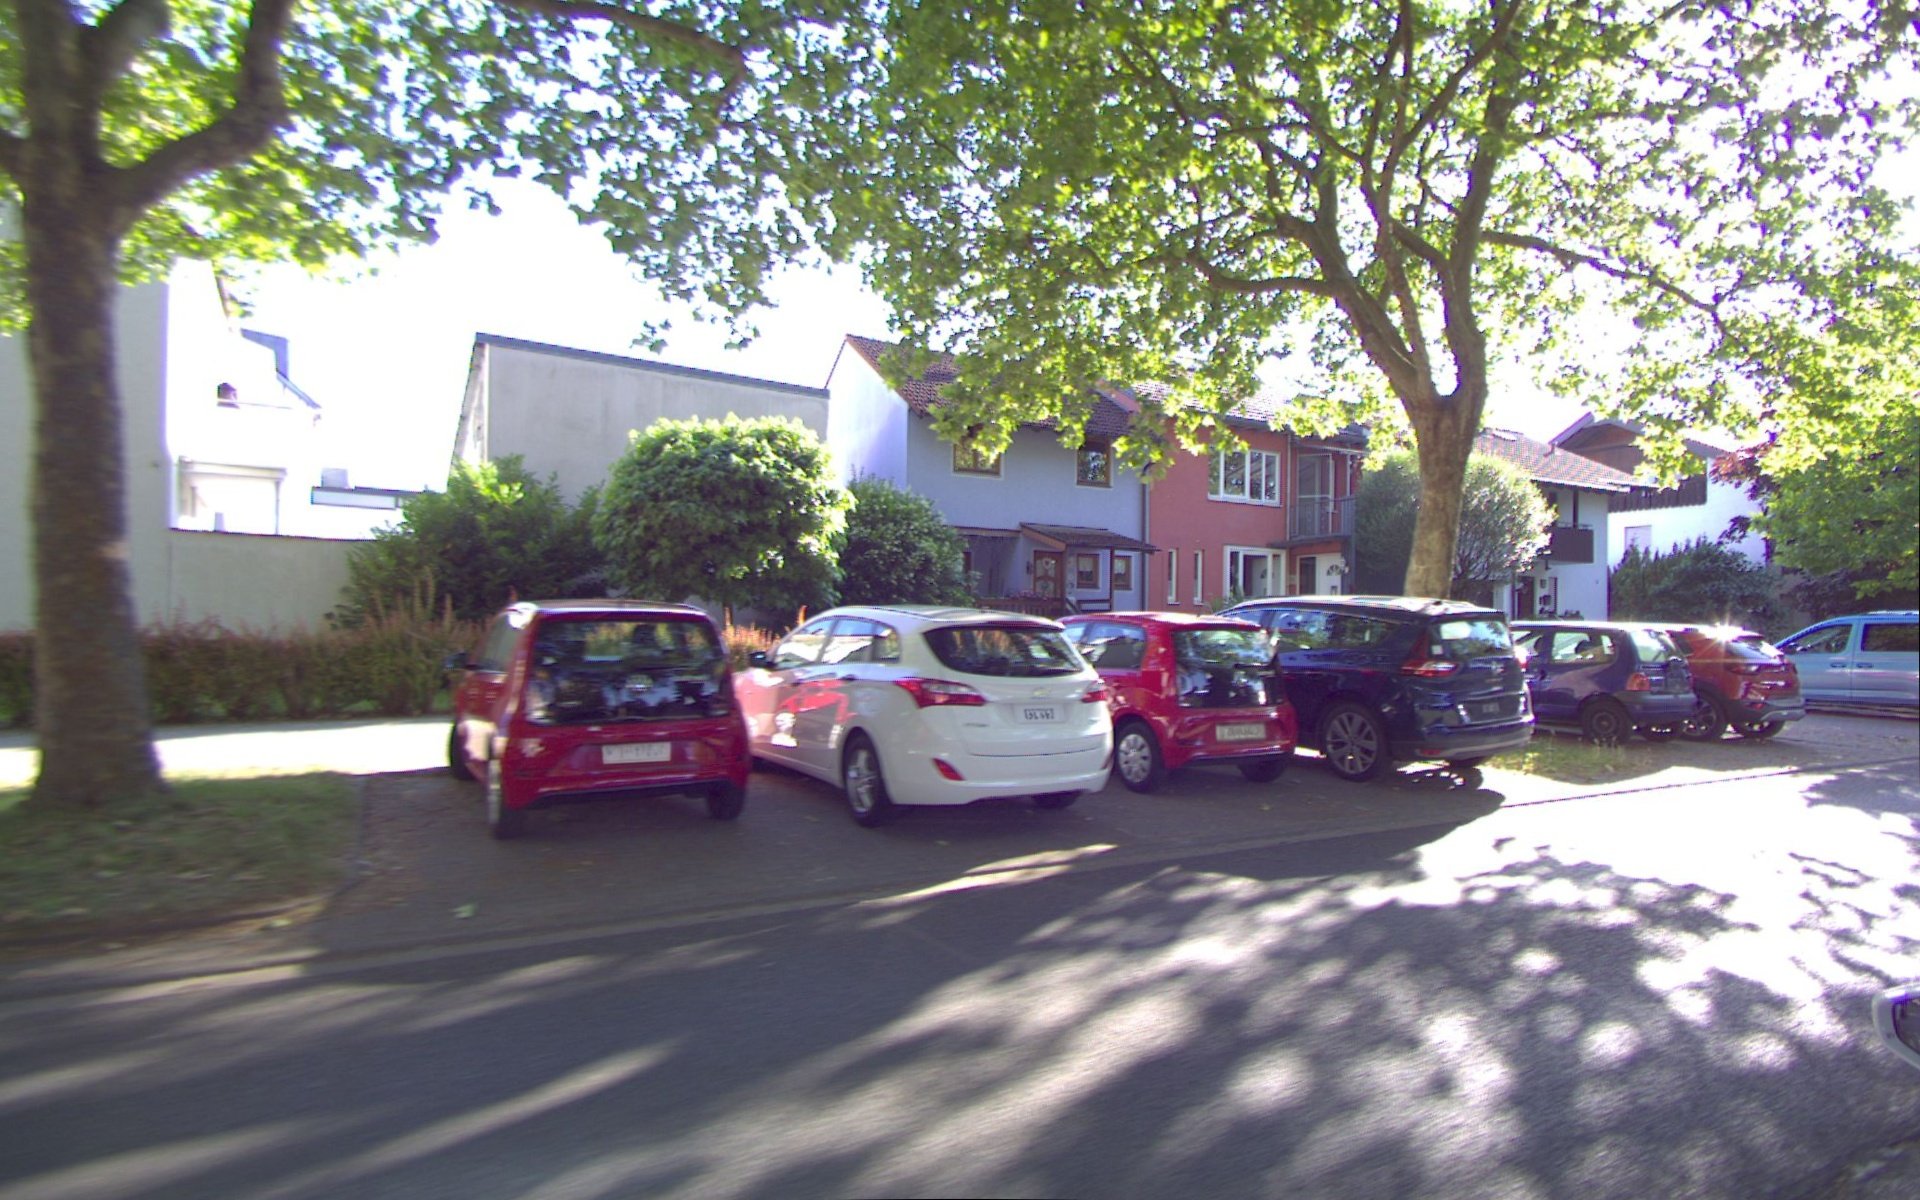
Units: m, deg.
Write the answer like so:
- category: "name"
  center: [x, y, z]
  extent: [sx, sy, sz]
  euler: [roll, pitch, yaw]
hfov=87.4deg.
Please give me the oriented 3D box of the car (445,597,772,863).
- category: "car"
  center: [-2.812, 0.755, 7.575]
  extent: [1.676, 1.499, 3.322]
  euler: [2, 0, -31]

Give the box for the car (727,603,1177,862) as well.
- category: "car"
  center: [-0.352, 0.825, 8.281]
  extent: [1.854, 1.521, 4.140]
  euler: [2, -1, -31]

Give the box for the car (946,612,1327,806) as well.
- category: "car"
  center: [1.517, 0.892, 9.910]
  extent: [1.733, 1.503, 3.742]
  euler: [2, -1, -29]

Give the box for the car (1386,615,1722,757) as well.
- category: "car"
  center: [7.819, 1.033, 13.497]
  extent: [1.709, 1.537, 3.491]
  euler: [2, 0, -33]

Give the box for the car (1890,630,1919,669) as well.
- category: "car"
  center: [40.136, 2.134, 40.062]
  extent: [1.974, 1.497, 3.973]
  euler: [2, 3, -26]

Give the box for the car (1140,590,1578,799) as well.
- category: "car"
  center: [3.919, 0.821, 10.596]
  extent: [1.810, 1.738, 4.073]
  euler: [2, -1, -29]

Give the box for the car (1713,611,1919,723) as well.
- category: "car"
  center: [16.466, 1.153, 17.981]
  extent: [1.972, 1.848, 4.364]
  euler: [2, -1, -30]

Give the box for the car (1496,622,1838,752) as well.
- category: "car"
  center: [9.973, 1.132, 14.442]
  extent: [1.760, 1.537, 3.626]
  euler: [1, -1, -29]

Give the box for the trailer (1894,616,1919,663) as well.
- category: "trailer"
  center: [42.292, 1.798, 42.634]
  extent: [1.622, 1.952, 3.439]
  euler: [0, 3, -27]
